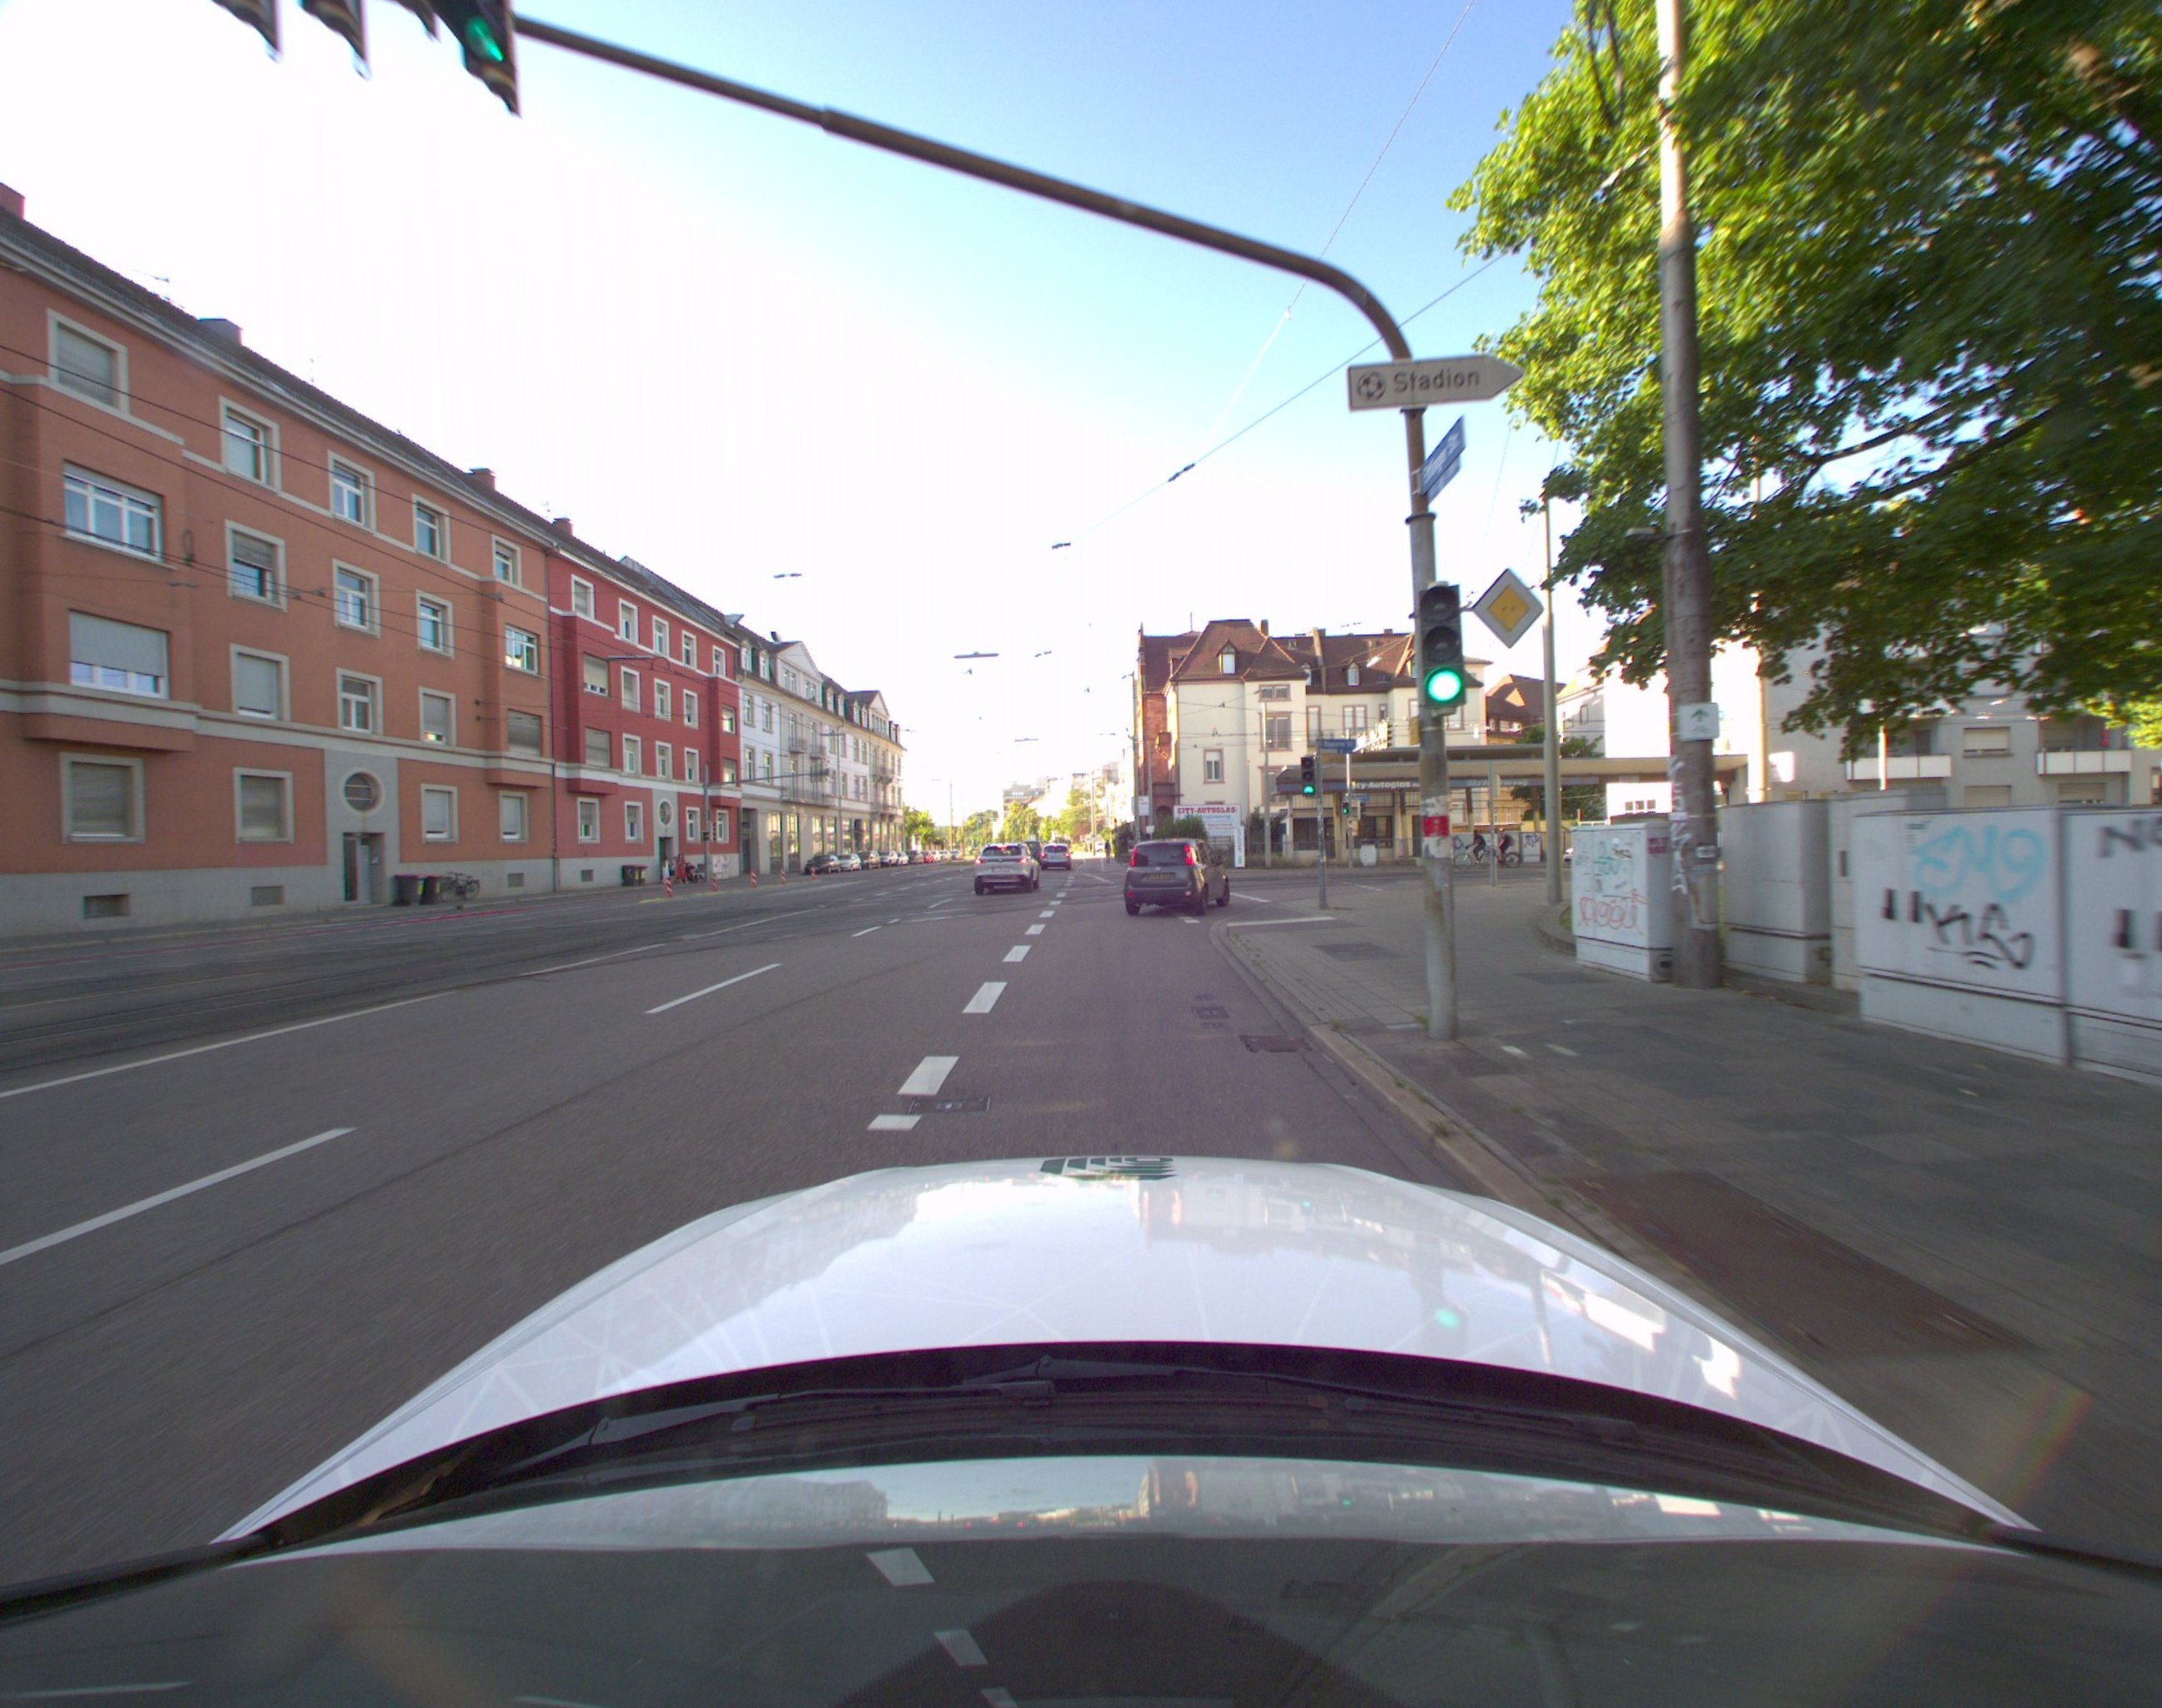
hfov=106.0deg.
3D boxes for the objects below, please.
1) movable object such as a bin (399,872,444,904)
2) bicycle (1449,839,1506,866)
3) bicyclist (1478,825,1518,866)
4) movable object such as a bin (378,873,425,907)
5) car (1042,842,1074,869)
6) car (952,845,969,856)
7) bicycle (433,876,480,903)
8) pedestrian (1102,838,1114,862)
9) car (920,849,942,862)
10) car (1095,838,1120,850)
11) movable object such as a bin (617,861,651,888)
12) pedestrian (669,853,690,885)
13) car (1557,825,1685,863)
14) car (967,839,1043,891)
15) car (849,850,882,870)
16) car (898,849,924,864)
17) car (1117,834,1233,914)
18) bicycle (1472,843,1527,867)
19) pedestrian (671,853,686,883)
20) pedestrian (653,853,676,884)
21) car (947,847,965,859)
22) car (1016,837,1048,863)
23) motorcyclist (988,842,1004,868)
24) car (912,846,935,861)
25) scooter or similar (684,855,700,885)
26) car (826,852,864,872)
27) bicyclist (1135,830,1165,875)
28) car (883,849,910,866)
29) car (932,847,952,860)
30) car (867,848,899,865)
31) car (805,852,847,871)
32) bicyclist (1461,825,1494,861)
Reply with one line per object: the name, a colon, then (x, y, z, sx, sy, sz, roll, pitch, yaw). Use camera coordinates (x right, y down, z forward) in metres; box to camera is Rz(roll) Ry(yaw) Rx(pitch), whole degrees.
movable object such as a bin: (-22.422, 1.151, 27.701, 0.841, 1.040, 0.810, -2, 0, -3)
bicycle: (17.227, -0.061, 35.421, 2.046, 1.125, 0.899, -1, 0, 10)
bicyclist: (18.619, -0.374, 36.395, 1.246, 1.787, 0.910, -2, 0, -3)
movable object such as a bin: (-22.401, 1.176, 26.859, 0.841, 1.040, 0.810, -2, 0, -3)
car: (-1.440, 0.064, 51.519, 1.808, 1.582, 4.001, -2, 0, 1)
car: (-18.264, -0.497, 123.497, 1.713, 1.552, 4.002, -2, 1, 1)
bicycle: (-22.689, 1.279, 29.615, 0.333, 0.890, 1.607, -2, 0, 6)
pedestrian: (2.079, -0.314, 61.825, 0.872, 1.824, 1.185, -1, 0, 2)
car: (-18.112, 0.165, 98.350, 1.713, 1.552, 4.002, -2, 1, 1)
car: (4.721, -1.809, 145.849, 4.256, 2.013, 1.995, -1, 0, -8)
movable object such as a bin: (-22.187, 1.005, 40.410, 0.866, 1.249, 1.236, -2, 0, 7)
pedestrian: (-21.460, 0.801, 43.547, 0.835, 1.633, 0.786, -2, 1, -37)
car: (22.696, -0.395, 34.341, 4.159, 1.458, 1.797, -2, -1, 2)
car: (-2.363, 0.285, 26.418, 1.940, 1.528, 4.091, -1, 1, 1)
car: (-18.664, 0.494, 70.657, 1.713, 1.552, 3.857, -2, 1, 1)
car: (-18.264, 0.265, 87.645, 1.713, 1.552, 4.002, -2, 1, 1)
car: (2.142, 0.348, 17.537, 1.717, 1.500, 4.019, -1, 1, 18)
bicycle: (18.684, 0.033, 36.388, 2.033, 1.017, 0.728, -2, 0, 2)
pedestrian: (-22.042, 0.759, 44.565, 0.657, 1.633, 0.787, -2, 0, -31)
pedestrian: (-21.932, 0.753, 42.889, 0.786, 1.633, 0.658, -1, 0, 19)
car: (-18.007, -0.158, 117.481, 1.713, 1.552, 4.002, -2, 1, 1)
car: (-3.935, -0.362, 66.365, 2.164, 2.009, 4.809, -2, 1, 1)
motorcyclist: (-4.760, 0.032, 45.845, 0.775, 1.423, 0.891, -1, 1, 0)
car: (-18.055, -0.079, 93.602, 1.713, 1.552, 4.002, -2, 1, 1)
scooter or similar: (-21.438, 0.888, 44.884, 0.657, 1.633, 0.787, -2, 0, -31)
car: (-18.991, 0.633, 65.707, 1.713, 1.452, 4.002, -2, 1, 1)
bicyclist: (2.429, -0.066, 28.651, 0.833, 1.525, 0.991, -1, 0, -7)
car: (-18.699, 0.329, 82.573, 1.713, 1.552, 4.002, -2, 1, 1)
car: (-18.171, -0.104, 106.620, 1.713, 1.552, 4.002, -1, 1, 2)
car: (-18.763, 0.215, 77.432, 1.828, 1.552, 4.276, -2, 1, 1)
car: (-18.776, 0.549, 60.118, 1.713, 1.232, 4.002, -2, 1, 1)
bicyclist: (17.232, -0.490, 35.413, 1.041, 1.526, 0.882, -2, 0, 11)
